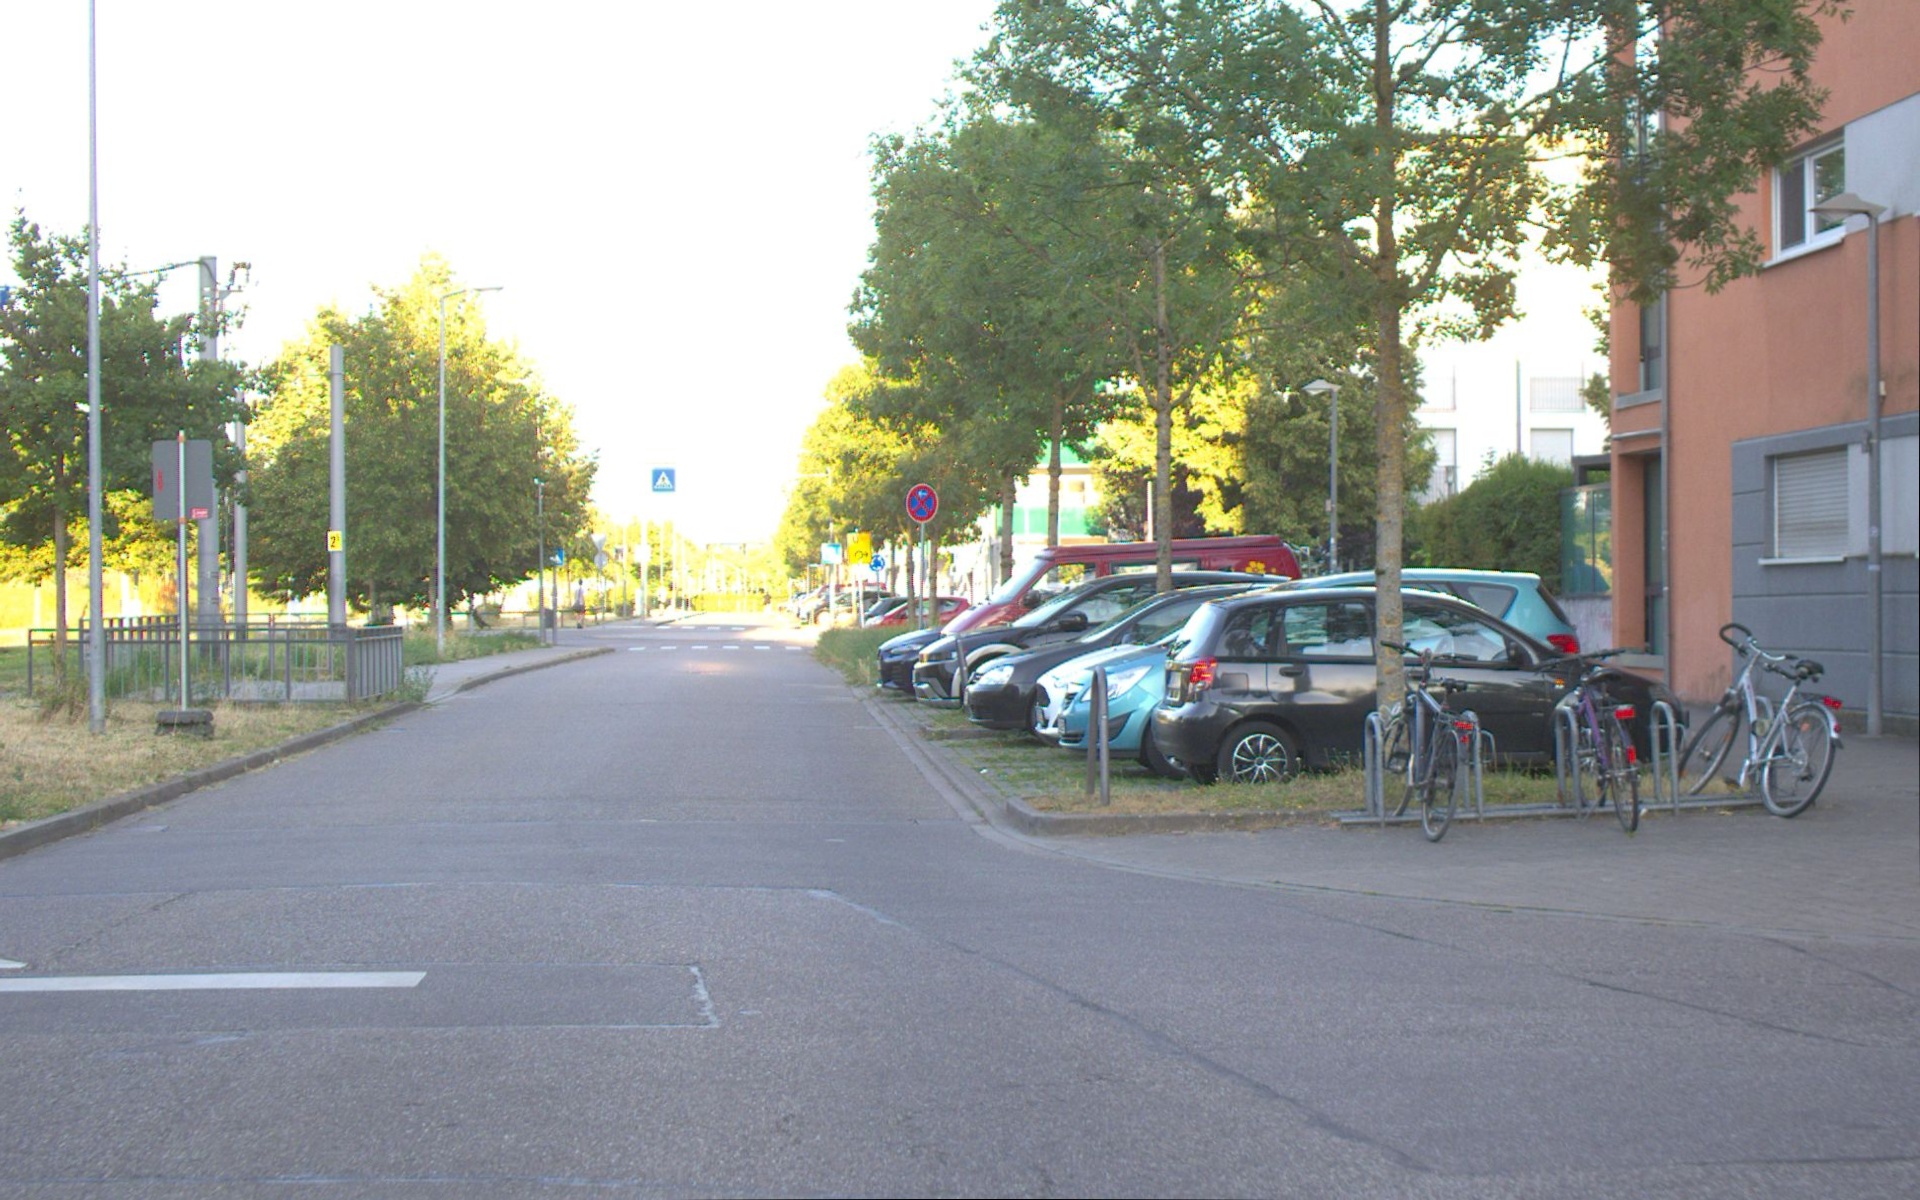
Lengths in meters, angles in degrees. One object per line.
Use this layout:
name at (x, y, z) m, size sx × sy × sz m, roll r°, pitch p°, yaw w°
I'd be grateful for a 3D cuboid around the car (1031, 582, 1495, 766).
car at (2.617, 0.623, 30.263) m, size 3.876 × 1.563 × 1.620 m, roll 0°, pitch 0°, yaw -3°

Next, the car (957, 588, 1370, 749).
car at (1.907, 0.659, 32.862) m, size 3.773 × 1.490 × 1.539 m, roll 0°, pitch -2°, yaw -3°

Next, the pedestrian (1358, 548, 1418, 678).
pedestrian at (5.777, 0.168, 46.435) m, size 0.668 × 1.737 × 0.699 m, roll 0°, pitch 0°, yaw -4°

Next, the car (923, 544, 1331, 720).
car at (2.030, 0.381, 42.873) m, size 4.919 × 2.110 × 2.017 m, roll 0°, pitch 0°, yaw -2°

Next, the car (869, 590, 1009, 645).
car at (-0.606, 0.485, 96.323) m, size 3.802 × 1.503 × 1.679 m, roll 0°, pitch 0°, yaw -5°

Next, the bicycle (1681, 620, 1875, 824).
bicycle at (5.012, 0.723, 21.185) m, size 0.529 × 1.123 × 1.963 m, roll 1°, pitch 2°, yaw -5°

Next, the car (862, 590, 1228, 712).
car at (1.081, 0.653, 45.329) m, size 4.668 × 1.551 × 1.811 m, roll 0°, pitch 0°, yaw -4°

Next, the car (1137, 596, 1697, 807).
car at (3.290, 0.708, 25.074) m, size 3.748 × 1.468 × 1.613 m, roll 0°, pitch 0°, yaw -8°

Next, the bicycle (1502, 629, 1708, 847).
bicycle at (3.846, 0.800, 20.644) m, size 0.679 × 1.148 × 1.928 m, roll -2°, pitch 2°, yaw -5°

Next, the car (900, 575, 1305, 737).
car at (1.509, 0.589, 37.519) m, size 4.215 × 1.563 × 1.793 m, roll -2°, pitch 0°, yaw -3°

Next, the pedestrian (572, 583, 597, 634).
pedestrian at (-14.693, 0.328, 134.593) m, size 0.846 × 2.007 × 0.943 m, roll 0°, pitch 0°, yaw 2°

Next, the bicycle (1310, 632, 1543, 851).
bicycle at (2.776, 0.822, 20.671) m, size 0.716 × 1.148 × 1.899 m, roll -2°, pitch 2°, yaw -14°

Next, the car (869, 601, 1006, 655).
car at (-0.666, 0.785, 98.999) m, size 3.802 × 1.503 × 1.679 m, roll 0°, pitch 0°, yaw -5°

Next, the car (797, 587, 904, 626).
car at (-4.674, 0.280, 146.627) m, size 4.484 × 1.590 × 2.000 m, roll 0°, pitch 0°, yaw -2°

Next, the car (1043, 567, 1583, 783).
car at (2.772, 0.577, 27.551) m, size 4.050 × 1.563 × 1.673 m, roll -2°, pitch 0°, yaw -3°

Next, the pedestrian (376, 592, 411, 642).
pedestrian at (-18.923, 0.564, 114.806) m, size 1.018 × 1.687 × 0.760 m, roll 0°, pitch 0°, yaw -22°
